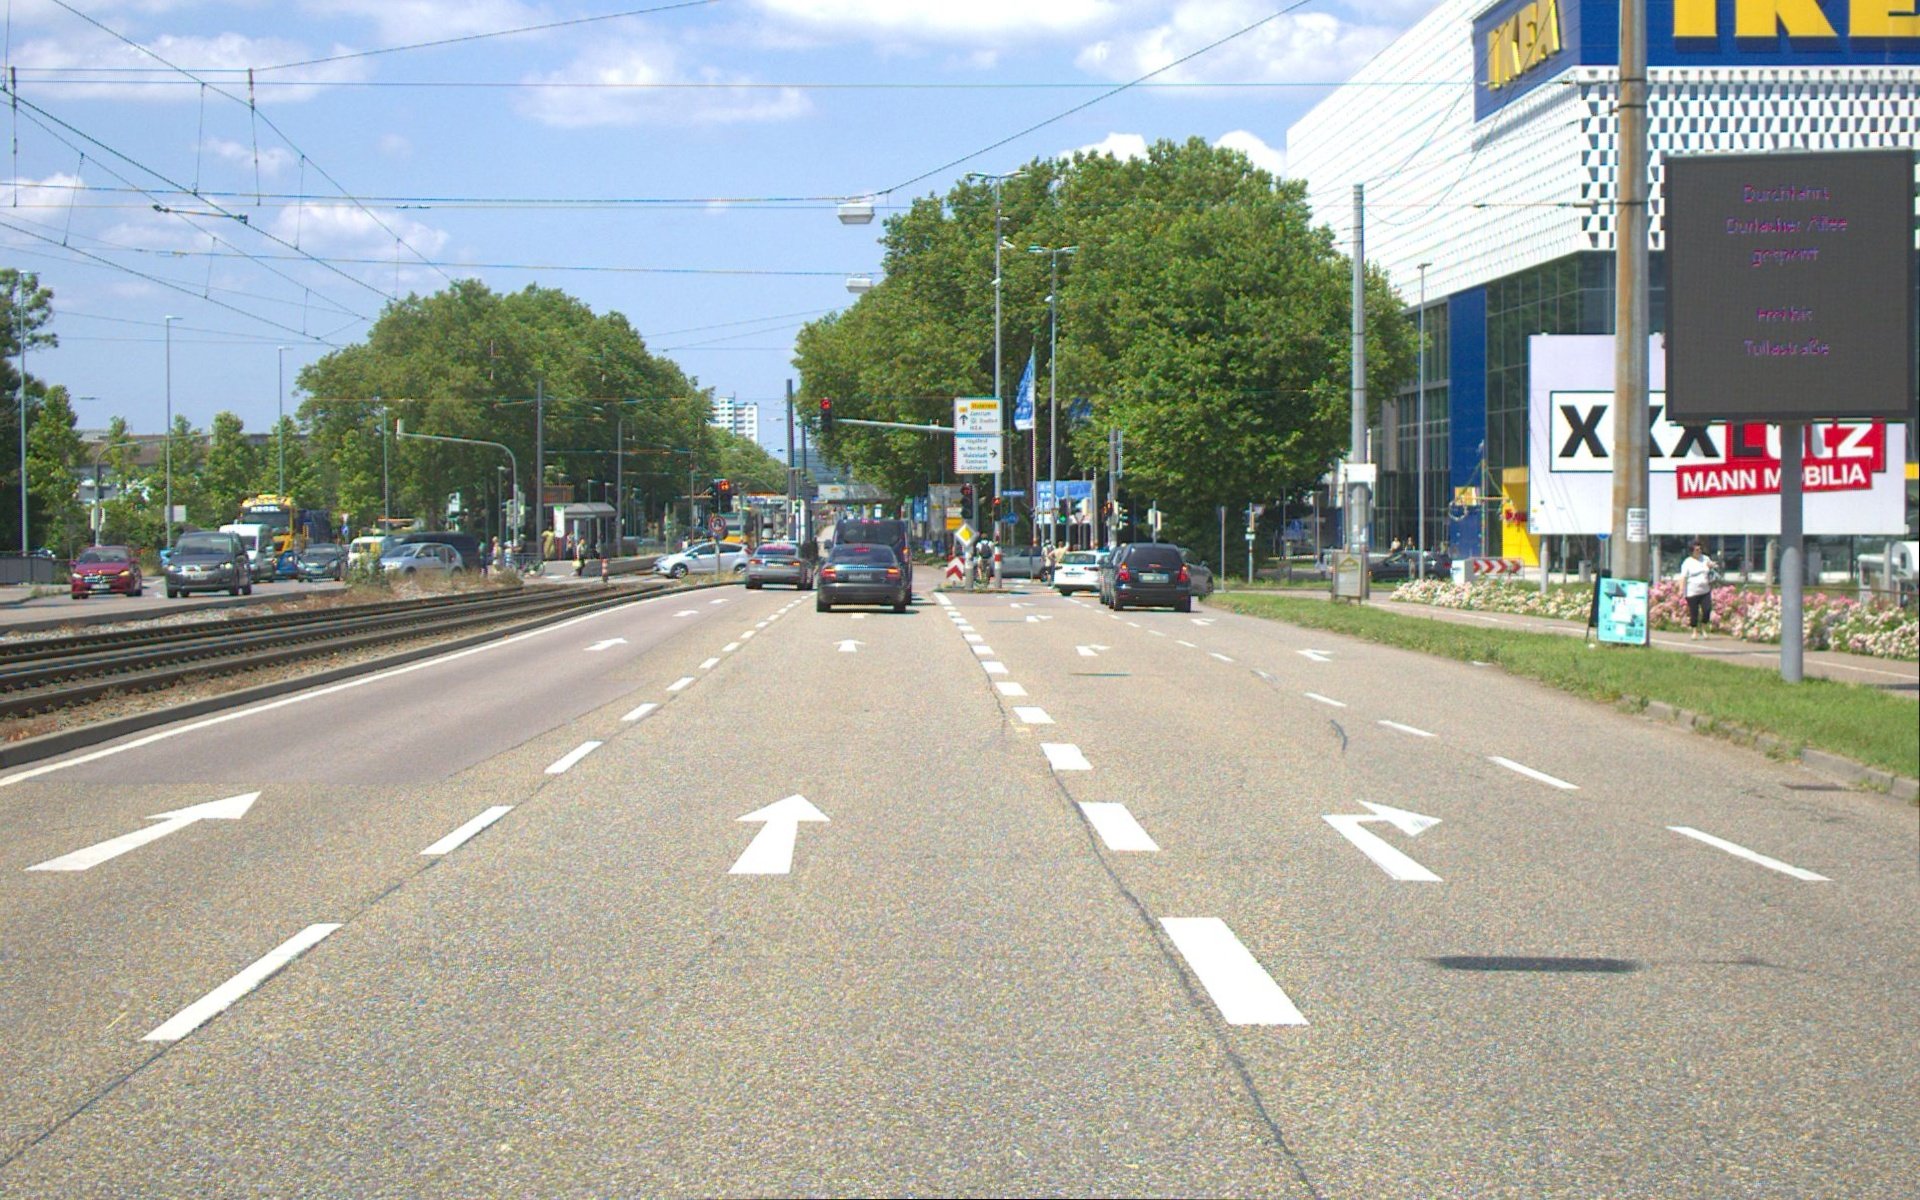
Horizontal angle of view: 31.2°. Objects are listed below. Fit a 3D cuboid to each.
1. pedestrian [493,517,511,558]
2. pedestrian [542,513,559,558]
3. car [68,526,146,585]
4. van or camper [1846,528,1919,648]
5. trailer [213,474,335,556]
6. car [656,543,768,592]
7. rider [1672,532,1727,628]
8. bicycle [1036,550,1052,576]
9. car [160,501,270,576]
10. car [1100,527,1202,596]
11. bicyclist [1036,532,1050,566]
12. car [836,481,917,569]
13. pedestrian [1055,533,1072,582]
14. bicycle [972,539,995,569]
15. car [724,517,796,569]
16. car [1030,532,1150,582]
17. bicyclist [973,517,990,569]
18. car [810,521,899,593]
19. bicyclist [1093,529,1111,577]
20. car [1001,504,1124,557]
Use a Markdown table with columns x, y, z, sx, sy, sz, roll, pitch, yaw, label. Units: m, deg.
| x | y | z | sx | sy | sz | roll | pitch | yaw | label |
| --- | --- | --- | --- | --- | --- | --- | --- | --- | --- |
| -18.675 | -2.544 | 140.128 | 0.685 | 1.631 | 0.573 | 1 | 1 | -5 | pedestrian |
| -18.535 | -2.911 | 155.612 | 0.685 | 2.007 | 0.573 | 1 | 1 | -5 | pedestrian |
| -25.212 | -1.328 | 101.712 | 1.993 | 1.664 | 4.469 | -2 | 1 | -11 | car |
| 25.240 | -0.344 | 89.814 | 2.507 | 3.009 | 7.223 | 1 | 1 | 2 | van or camper |
| -31.286 | -3.847 | 157.535 | 2.767 | 3.506 | 15.880 | 1 | 1 | -2 | trailer |
| -9.679 | -1.262 | 134.099 | 3.986 | 1.842 | 2.001 | 0 | 2 | -18 | car |
| 11.341 | -0.311 | 52.730 | 0.669 | 1.452 | 0.618 | 1 | 1 | -2 | rider |
| 2.913 | -1.302 | 119.244 | 0.550 | 0.874 | 1.697 | 1 | 1 | 1 | bicycle |
| -19.506 | -1.625 | 90.185 | 1.993 | 1.824 | 4.970 | -2 | 1 | -3 | car |
| 4.399 | -0.909 | 79.670 | 1.993 | 1.481 | 4.000 | 2 | 1 | -1 | car |
| 2.887 | -1.771 | 119.140 | 0.470 | 1.189 | 0.791 | 1 | 1 | 1 | bicyclist |
| -1.981 | -1.803 | 81.409 | 1.836 | 1.943 | 4.001 | 1 | 3 | -2 | car |
| 3.457 | -1.431 | 114.810 | 0.554 | 1.629 | 0.433 | 1 | 1 | 2 | pedestrian |
| 0.805 | -1.568 | 117.451 | 0.687 | 0.990 | 2.752 | 1 | 1 | -1 | bicycle |
| -6.080 | -1.746 | 104.665 | 1.993 | 1.481 | 4.000 | 2 | 1 | -1 | car |
| 4.170 | -1.356 | 109.541 | 1.997 | 1.481 | 4.383 | 3 | 1 | 29 | car |
| 0.742 | -1.949 | 117.376 | 0.528 | 1.783 | 1.088 | 1 | 1 | -1 | bicyclist |
| -2.178 | -0.912 | 71.707 | 1.792 | 1.450 | 4.000 | 0 | 1 | -1 | car |
| 5.351 | -1.767 | 129.250 | 0.529 | 1.758 | 0.827 | 1 | 1 | 12 | bicyclist |
| 4.106 | -2.791 | 137.688 | 4.395 | 1.911 | 2.001 | 2 | 1 | -21 | car |
